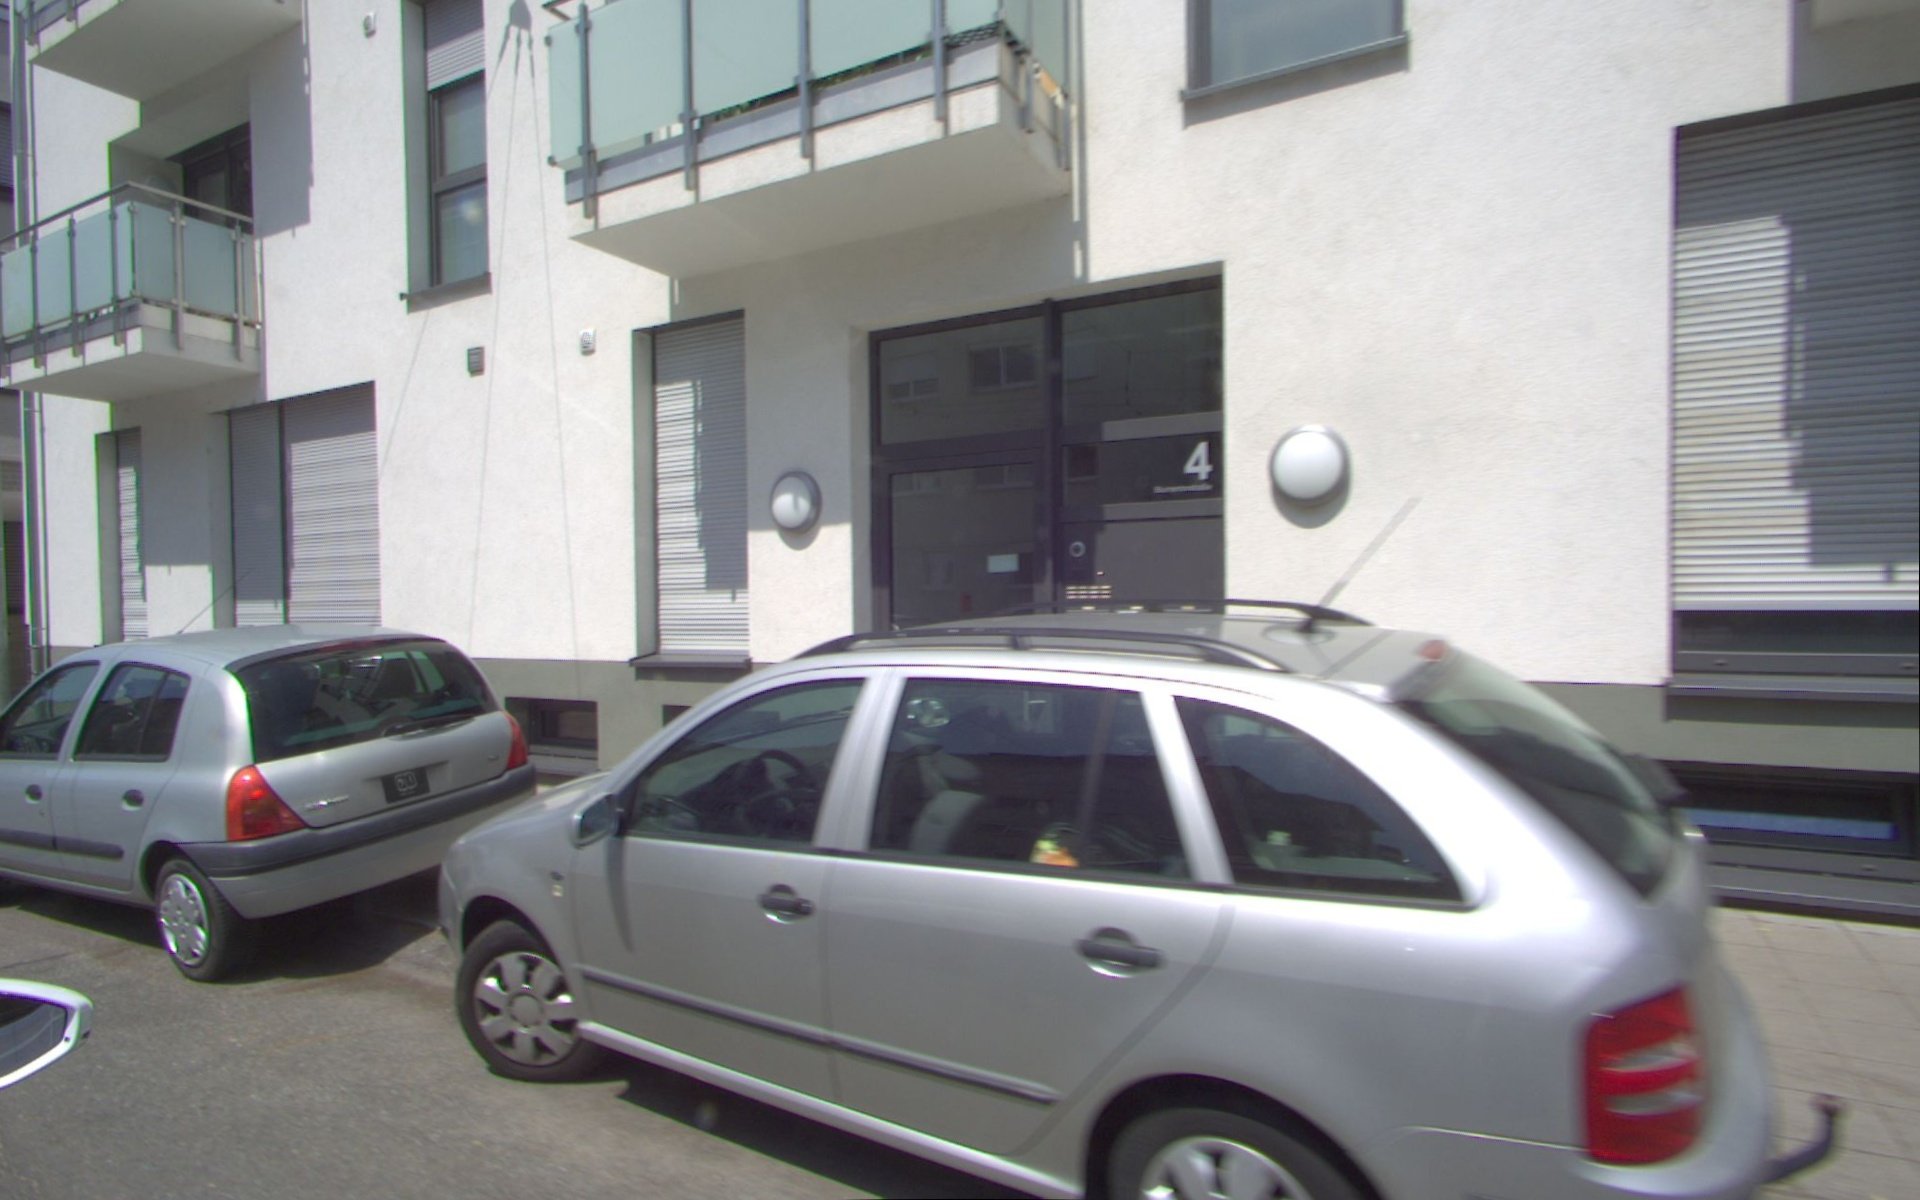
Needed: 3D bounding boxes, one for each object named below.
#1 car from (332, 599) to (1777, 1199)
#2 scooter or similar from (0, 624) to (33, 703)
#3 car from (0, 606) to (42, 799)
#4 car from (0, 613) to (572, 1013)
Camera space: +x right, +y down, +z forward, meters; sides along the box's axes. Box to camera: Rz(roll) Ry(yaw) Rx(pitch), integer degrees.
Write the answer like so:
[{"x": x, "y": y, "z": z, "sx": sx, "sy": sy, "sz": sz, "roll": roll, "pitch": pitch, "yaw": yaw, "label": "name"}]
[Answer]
[{"x": -0.058, "y": 0.807, "z": 3.247, "sx": 3.985, "sy": 1.453, "sz": 1.722, "roll": -1, "pitch": 3, "yaw": 32, "label": "car"}, {"x": -15.628, "y": 1.015, "z": 16.244, "sx": 1.294, "sy": 1.227, "sz": 0.422, "roll": 0, "pitch": 1, "yaw": 27, "label": "scooter or similar"}, {"x": -9.959, "y": 0.910, "z": 8.371, "sx": 4.475, "sy": 1.530, "sz": 1.797, "roll": -1, "pitch": 3, "yaw": 27, "label": "car"}, {"x": -4.070, "y": 0.879, "z": 5.453, "sx": 3.649, "sy": 1.453, "sz": 1.590, "roll": -1, "pitch": 3, "yaw": 28, "label": "car"}]
